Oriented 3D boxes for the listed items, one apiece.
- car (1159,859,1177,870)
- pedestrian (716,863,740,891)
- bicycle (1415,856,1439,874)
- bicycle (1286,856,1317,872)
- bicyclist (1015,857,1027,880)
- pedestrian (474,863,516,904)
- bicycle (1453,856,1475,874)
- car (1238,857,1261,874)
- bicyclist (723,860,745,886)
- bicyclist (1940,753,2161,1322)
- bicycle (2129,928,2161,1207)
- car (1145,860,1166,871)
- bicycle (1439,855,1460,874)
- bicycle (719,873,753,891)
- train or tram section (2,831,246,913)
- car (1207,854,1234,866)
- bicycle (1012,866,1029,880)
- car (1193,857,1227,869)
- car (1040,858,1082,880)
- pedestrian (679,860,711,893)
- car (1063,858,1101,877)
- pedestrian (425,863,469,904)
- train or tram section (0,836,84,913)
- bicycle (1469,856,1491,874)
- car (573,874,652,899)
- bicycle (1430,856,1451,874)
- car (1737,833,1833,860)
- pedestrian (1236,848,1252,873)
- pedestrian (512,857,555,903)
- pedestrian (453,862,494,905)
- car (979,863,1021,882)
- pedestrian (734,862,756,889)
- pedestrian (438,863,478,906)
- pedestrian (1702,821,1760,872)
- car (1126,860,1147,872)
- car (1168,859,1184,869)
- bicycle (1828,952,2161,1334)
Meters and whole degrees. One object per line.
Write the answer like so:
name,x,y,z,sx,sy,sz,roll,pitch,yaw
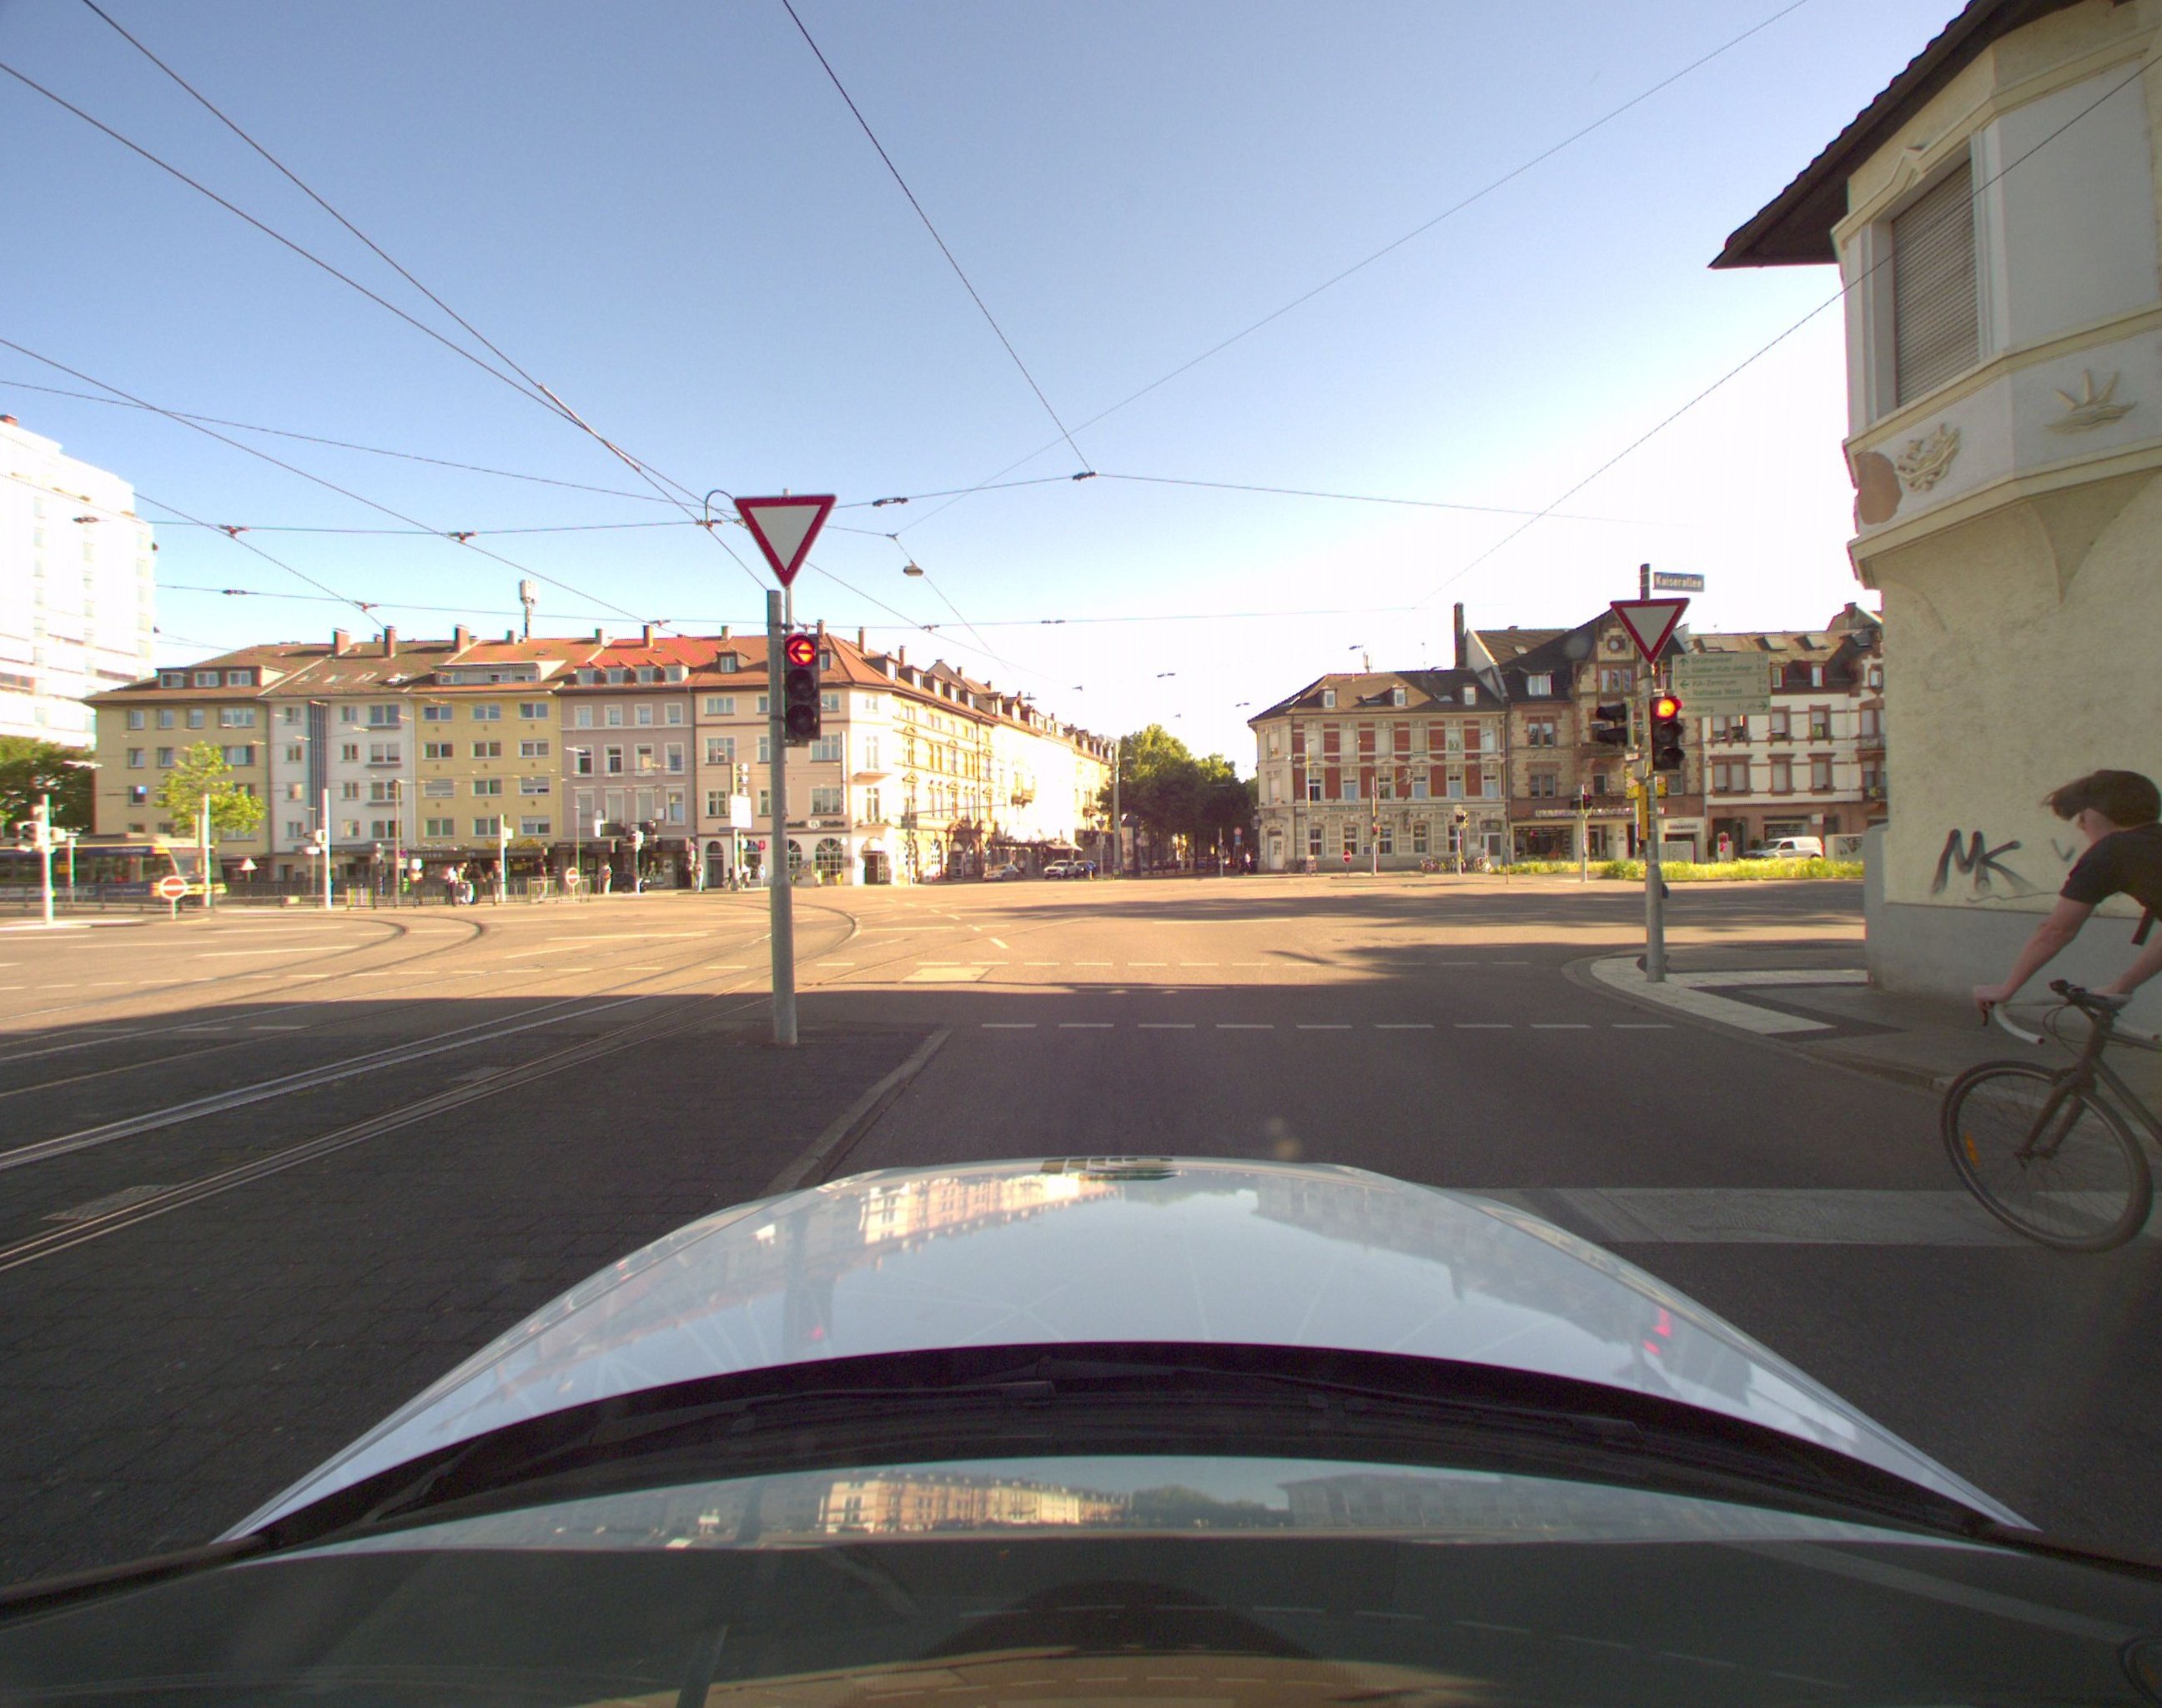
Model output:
car,13.921,1.704,130.330,1.822,1.552,4.412,-2,0,19
pedestrian,-23.000,1.504,53.101,0.998,1.775,0.945,-2,0,16
bicycle,22.504,0.704,52.983,0.802,1.143,2.178,-2,0,7
bicycle,15.504,0.726,57.187,2.081,1.124,0.366,0,-1,-3
bicyclist,-4.808,1.133,65.337,0.674,1.820,1.075,-2,0,14
pedestrian,-23.236,1.165,32.303,0.997,1.598,0.946,-2,0,22
bicycle,24.782,0.713,52.686,0.615,1.143,2.178,-2,0,7
car,17.021,1.143,82.213,1.978,1.585,4.017,-2,0,16
bicyclist,-24.267,1.357,57.030,1.161,1.775,0.748,-1,0,0
bicyclist,3.601,0.562,2.591,0.559,1.754,1.102,-2,0,4
bicycle,4.536,0.859,2.443,0.516,1.116,1.815,-2,0,4
car,11.262,1.734,122.598,1.977,1.612,4.413,-2,0,20
bicycle,23.862,0.675,52.781,0.615,1.143,2.178,-2,0,7
bicycle,-24.178,1.945,57.055,2.083,1.181,0.631,-1,0,1
train or tram section,-44.512,0.789,38.060,7.911,3.500,2.823,-1,0,0
car,22.839,0.975,133.299,3.948,1.706,2.013,-2,0,32
bicycle,-4.812,1.513,65.293,0.675,1.066,2.133,-2,0,14
car,18.210,1.310,115.163,4.335,1.612,2.012,-2,0,28
car,-1.603,1.253,67.536,1.977,1.684,4.413,-2,0,20
pedestrian,-20.125,1.153,42.462,1.076,1.685,1.104,-2,0,1
car,0.122,1.220,74.013,1.977,1.612,4.413,-2,0,20
pedestrian,-25.301,1.182,32.514,0.998,1.598,0.946,-2,0,18
train or tram section,-52.614,1.021,38.191,8.400,3.500,2.826,-1,0,2
bicycle,25.760,0.692,52.596,0.606,1.136,2.139,-2,0,7
car,-30.616,2.141,53.335,3.974,1.453,2.000,-1,0,-1
bicycle,23.283,0.695,52.834,0.615,1.143,2.178,-2,0,7
car,45.362,-0.476,52.550,4.317,1.640,2.152,-2,0,1
pedestrian,11.389,0.454,56.963,1.040,1.744,0.810,-1,0,8
pedestrian,-21.688,1.031,32.283,0.999,1.775,0.944,-2,0,11
pedestrian,-23.124,1.119,31.012,0.996,1.598,0.947,-2,0,33
car,-6.678,1.523,67.379,1.883,1.455,4.020,-2,0,20
pedestrian,-22.607,1.456,54.805,0.933,1.775,1.011,-2,0,7
pedestrian,-24.186,1.166,31.608,0.996,1.598,0.947,-2,0,34
pedestrian,27.117,-0.304,33.996,1.314,2.044,1.307,-2,0,1
car,7.541,1.671,110.978,1.978,1.486,4.017,-1,0,16
car,15.839,1.724,136.164,1.750,1.549,4.411,-2,0,18
bicycle,3.616,0.949,2.668,0.642,1.010,1.930,-2,0,4
